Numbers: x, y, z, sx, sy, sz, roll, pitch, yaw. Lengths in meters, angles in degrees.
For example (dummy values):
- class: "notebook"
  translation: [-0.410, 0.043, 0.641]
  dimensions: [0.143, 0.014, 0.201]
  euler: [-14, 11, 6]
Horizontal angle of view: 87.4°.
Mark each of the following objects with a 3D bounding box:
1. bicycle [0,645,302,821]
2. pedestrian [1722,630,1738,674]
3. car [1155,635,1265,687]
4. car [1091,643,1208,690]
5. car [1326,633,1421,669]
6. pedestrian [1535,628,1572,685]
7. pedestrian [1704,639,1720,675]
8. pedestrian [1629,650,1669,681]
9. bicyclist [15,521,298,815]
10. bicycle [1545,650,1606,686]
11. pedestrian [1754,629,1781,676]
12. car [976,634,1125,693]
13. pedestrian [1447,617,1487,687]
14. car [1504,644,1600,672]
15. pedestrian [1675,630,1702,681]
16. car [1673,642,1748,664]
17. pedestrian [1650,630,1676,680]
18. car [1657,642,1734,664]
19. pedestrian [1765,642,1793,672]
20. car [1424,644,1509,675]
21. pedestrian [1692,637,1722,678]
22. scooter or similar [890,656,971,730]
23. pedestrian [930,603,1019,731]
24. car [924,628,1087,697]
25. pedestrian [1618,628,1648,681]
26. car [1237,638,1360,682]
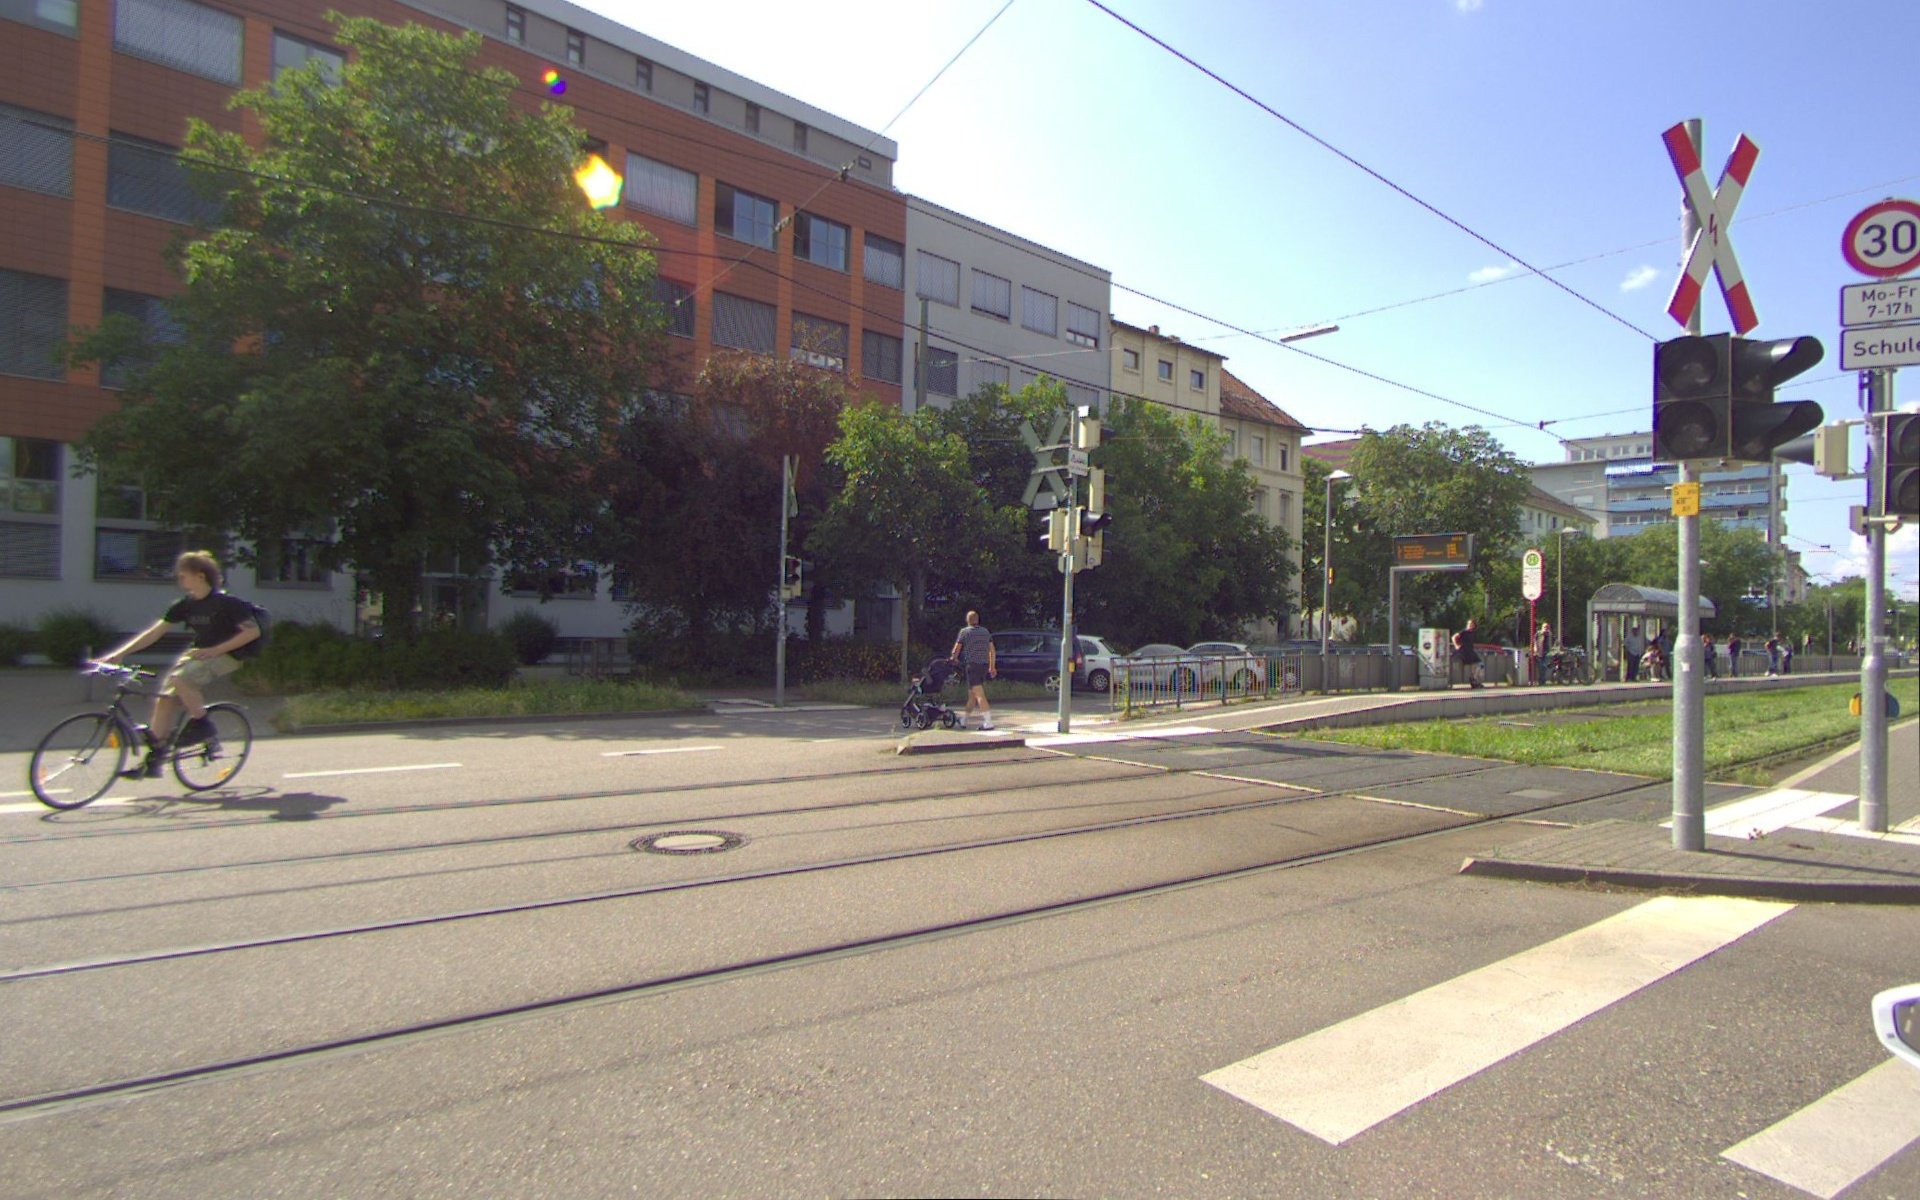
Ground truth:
- class: "bicycle"
  translation: [-6.336, 0.958, 7.832]
  dimensions: [1.142, 1.193, 1.778]
  euler: [-2, -4, 43]
- class: "pedestrian"
  translation: [30.853, 2.083, 40.242]
  dimensions: [0.482, 1.735, 0.462]
  euler: [-1, -3, 40]
- class: "car"
  translation: [7.956, 1.931, 32.107]
  dimensions: [3.320, 1.525, 1.546]
  euler: [1, -2, 12]
- class: "car"
  translation: [5.644, 1.961, 30.018]
  dimensions: [3.320, 1.252, 1.546]
  euler: [1, -2, 11]
- class: "car"
  translation: [16.439, 2.010, 40.021]
  dimensions: [3.182, 1.326, 1.457]
  euler: [1, -2, 2]
- class: "pedestrian"
  translation: [16.888, 1.611, 28.574]
  dimensions: [0.678, 1.590, 0.660]
  euler: [2, -3, -32]
- class: "pedestrian"
  translation: [30.629, 2.309, 40.923]
  dimensions: [0.482, 1.471, 0.462]
  euler: [-1, -3, 40]
- class: "pedestrian"
  translation: [23.049, 2.199, 33.619]
  dimensions: [0.790, 1.001, 0.918]
  euler: [4, -5, -37]
- class: "bicyclist"
  translation: [-6.266, 0.508, 7.888]
  dimensions: [0.937, 2.040, 1.567]
  euler: [-1, -3, 43]
- class: "bicycle"
  translation: [17.188, 1.885, 28.047]
  dimensions: [1.750, 0.987, 0.683]
  euler: [2, -4, -31]
- class: "pedestrian"
  translation: [35.722, 2.317, 44.431]
  dimensions: [0.656, 2.040, 0.795]
  euler: [2, -2, -37]
- class: "car"
  translation: [2.597, 1.756, 28.444]
  dimensions: [4.049, 1.519, 1.727]
  euler: [1, -2, 11]
- class: "pedestrian"
  translation: [12.954, 1.327, 25.674]
  dimensions: [0.654, 1.749, 0.714]
  euler: [1, -1, 2]
- class: "car"
  translation: [30.701, 3.006, 52.190]
  dimensions: [3.919, 1.385, 1.718]
  euler: [0, -2, 9]
- class: "pedestrian"
  translation: [25.994, 1.978, 35.834]
  dimensions: [0.631, 1.789, 0.601]
  euler: [2, -2, -31]
- class: "car"
  translation: [53.624, 3.749, 71.833]
  dimensions: [3.919, 1.466, 1.729]
  euler: [1, -2, 16]
- class: "pedestrian"
  translation: [24.869, 1.935, 35.529]
  dimensions: [0.551, 1.759, 0.589]
  euler: [2, -2, -35]
- class: "car"
  translation: [49.892, 3.592, 68.161]
  dimensions: [3.919, 1.404, 1.640]
  euler: [1, -2, 5]
- class: "pedestrian"
  translation: [40.567, 2.836, 49.756]
  dimensions: [1.015, 1.456, 0.701]
  euler: [-2, -3, 36]
- class: "car"
  translation: [23.122, 2.698, 45.935]
  dimensions: [3.181, 1.326, 1.457]
  euler: [1, -2, 4]
- class: "pedestrian"
  translation: [26.725, 2.054, 35.933]
  dimensions: [0.552, 1.444, 0.656]
  euler: [1, -2, -3]
- class: "scooter or similar"
  translation: [-0.450, 1.395, 15.335]
  dimensions: [0.942, 1.078, 0.794]
  euler: [-2, -4, 37]
- class: "pedestrian"
  translation: [0.210, 0.983, 14.860]
  dimensions: [0.996, 1.798, 0.863]
  euler: [2, -4, -41]
- class: "car"
  translation: [1.237, 1.600, 26.450]
  dimensions: [4.049, 1.662, 1.727]
  euler: [1, -2, 11]
- class: "pedestrian"
  translation: [21.950, 1.771, 32.776]
  dimensions: [0.651, 1.714, 0.649]
  euler: [2, -3, -39]
- class: "car"
  translation: [11.949, 2.097, 35.669]
  dimensions: [3.919, 1.475, 1.692]
  euler: [0, -2, 10]
